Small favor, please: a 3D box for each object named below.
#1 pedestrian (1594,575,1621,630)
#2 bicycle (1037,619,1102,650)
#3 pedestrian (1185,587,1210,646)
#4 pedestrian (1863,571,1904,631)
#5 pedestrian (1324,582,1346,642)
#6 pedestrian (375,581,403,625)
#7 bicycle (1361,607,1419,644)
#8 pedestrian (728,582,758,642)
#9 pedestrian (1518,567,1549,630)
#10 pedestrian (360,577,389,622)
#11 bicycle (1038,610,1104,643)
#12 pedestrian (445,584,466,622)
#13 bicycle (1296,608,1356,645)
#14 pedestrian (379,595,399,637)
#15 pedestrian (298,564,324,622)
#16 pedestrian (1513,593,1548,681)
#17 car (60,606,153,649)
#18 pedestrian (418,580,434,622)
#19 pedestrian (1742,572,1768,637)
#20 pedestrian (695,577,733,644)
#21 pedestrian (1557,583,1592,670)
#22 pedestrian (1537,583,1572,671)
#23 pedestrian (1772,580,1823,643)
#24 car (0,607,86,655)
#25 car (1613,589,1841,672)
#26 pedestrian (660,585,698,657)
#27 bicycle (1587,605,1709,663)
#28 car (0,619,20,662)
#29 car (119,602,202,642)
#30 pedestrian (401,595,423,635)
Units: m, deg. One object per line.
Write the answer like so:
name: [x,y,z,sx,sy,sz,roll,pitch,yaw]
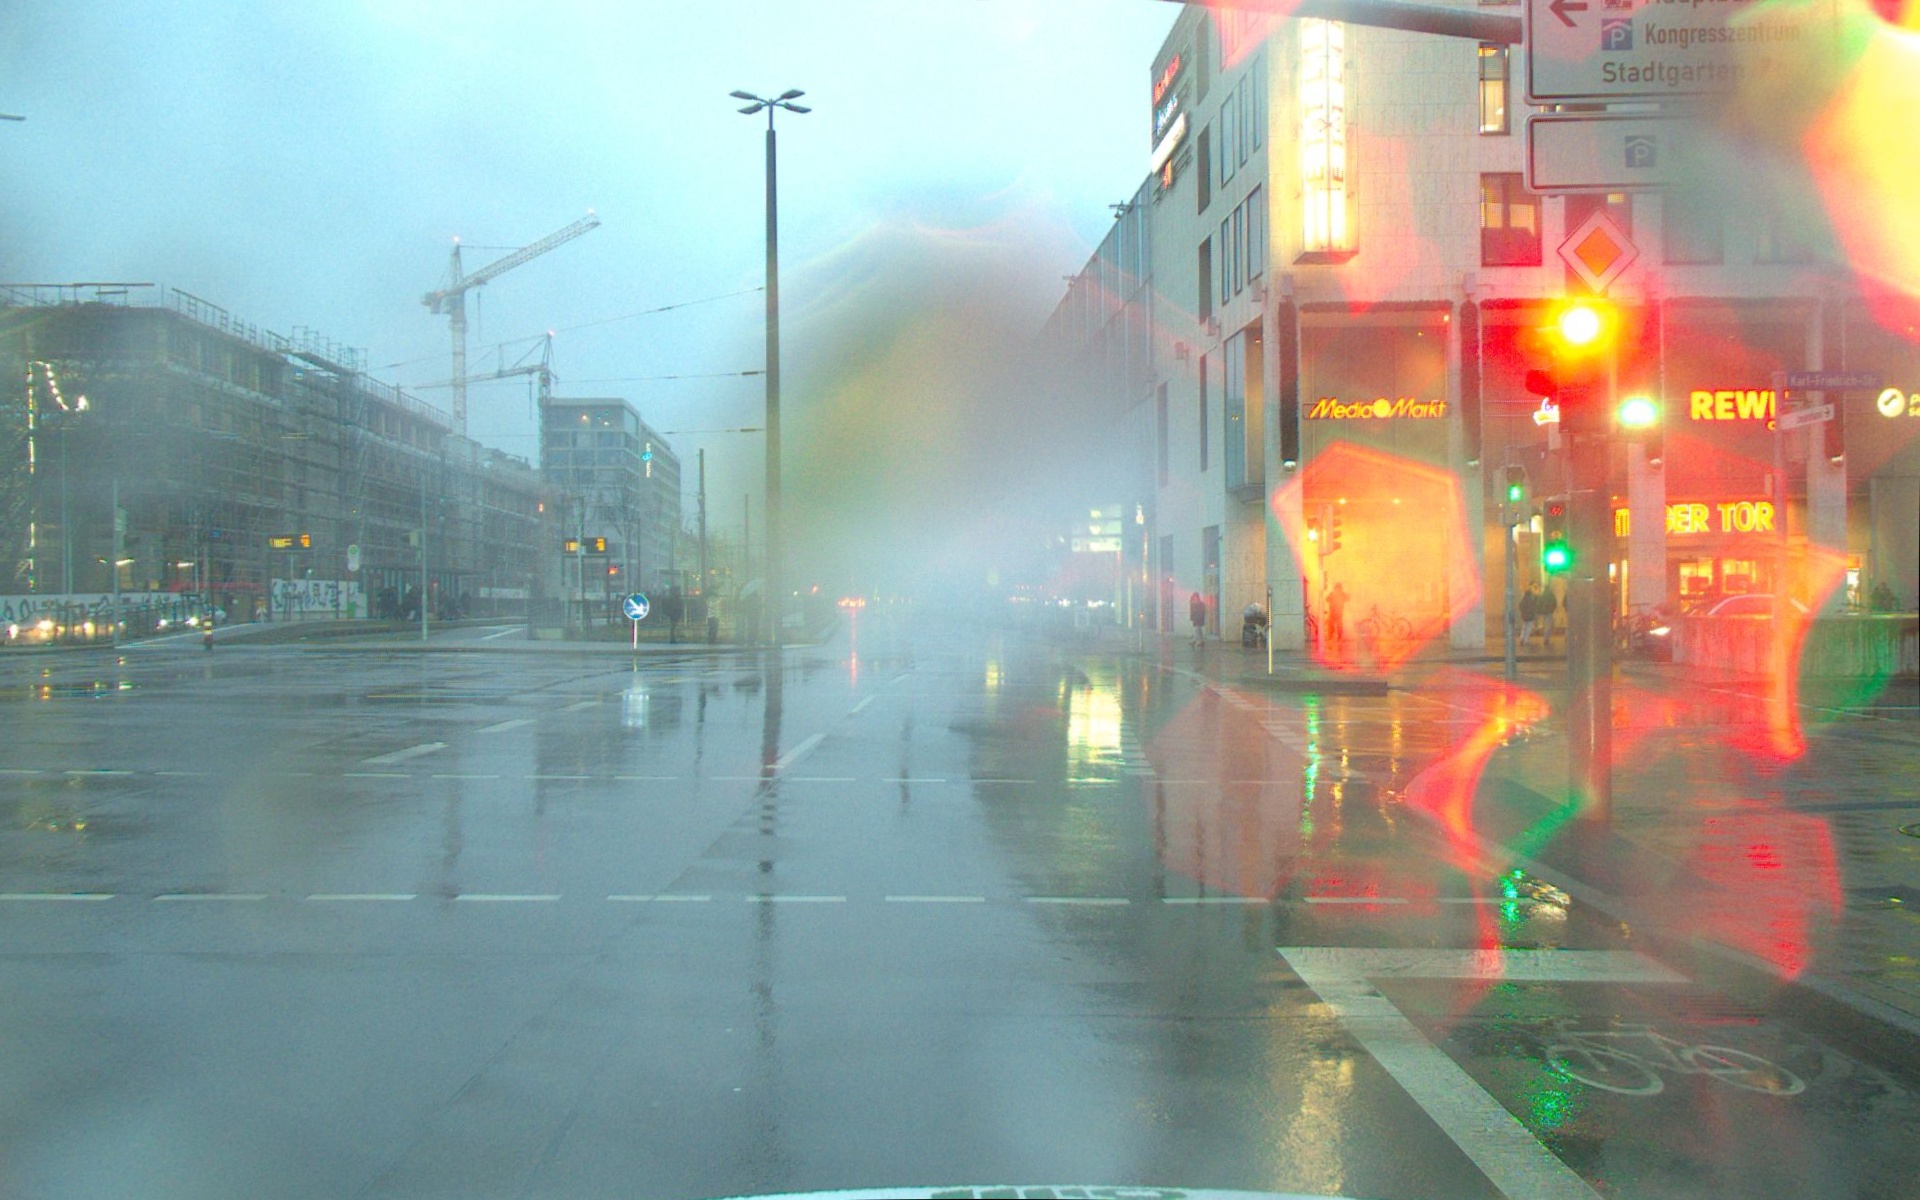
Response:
pedestrian: [20.609,0.079,52.643,0.721,1.748,0.738,-1,-1,27]
bicycle: [4.107,1.296,62.383,2.376,1.118,0.711,-1,-1,-3]
pedestrian: [7.058,0.495,49.169,0.624,1.739,0.573,-1,0,-2]
pedestrian: [26.865,0.034,48.115,0.875,1.714,0.528,-1,-1,-1]
pedestrian: [11.344,0.367,50.050,0.587,1.775,0.525,1,-1,7]
pedestrian: [-26.855,0.142,77.834,0.923,2.049,1.094,1,-1,-1]
bicycle: [13.257,0.787,51.007,1.614,1.088,0.524,1,-1,-5]
pedestrian: [-6.270,0.337,47.854,0.601,1.715,0.575,0,-1,41]
pedestrian: [18.894,-0.038,54.505,0.828,2.049,0.698,-1,0,8]
pedestrian: [-26.796,-0.033,75.748,0.923,2.049,1.094,1,-1,-1]
bicycle: [4.136,0.983,61.645,2.393,1.174,0.674,-1,-1,-2]
pedestrian: [-27.660,0.183,90.745,0.925,2.049,1.091,1,-1,-10]
bicycle: [11.245,0.820,50.842,1.734,1.088,0.523,1,-1,-9]
pedestrian: [-26.479,0.745,76.734,0.684,1.913,0.553,1,-1,-2]
pedestrian: [-26.836,-0.290,68.394,0.750,2.364,0.762,1,-2,-1]
pedestrian: [16.175,1.040,46.889,0.700,2.484,0.758,1,-1,-1]
car: [-37.642,1.182,73.091,1.952,1.822,4.000,1,0,1]
pedestrian: [-25.960,0.041,80.437,0.559,2.002,0.664,2,-1,-7]
pedestrian: [22.835,0.126,47.515,0.540,1.858,0.361,-1,-1,0]
pedestrian: [-6.883,0.290,46.294,0.813,1.863,0.777,1,-1,-31]
pedestrian: [17.723,0.755,47.730,0.679,2.491,0.791,1,-1,-1]
pedestrian: [16.988,0.778,47.274,0.675,2.484,0.758,1,-1,-1]
pedestrian: [23.407,0.321,46.238,1.009,1.713,0.824,1,-1,-1]
car: [-37.074,1.224,66.776,1.830,1.860,3.993,1,0,-8]
car: [16.193,0.626,35.067,3.905,1.646,2.000,1,0,0]
pedestrian: [-8.035,0.595,47.296,0.771,2.049,0.724,0,-1,41]
bicycle: [17.197,0.844,41.350,2.659,1.383,0.957,-1,-1,-4]
car: [-36.411,1.521,60.534,2.038,1.557,4.604,-1,0,-10]
car: [-37.963,1.026,78.635,1.952,1.822,4.000,1,0,1]
pedestrian: [-26.255,0.721,79.199,0.750,1.931,0.762,1,-2,-1]
